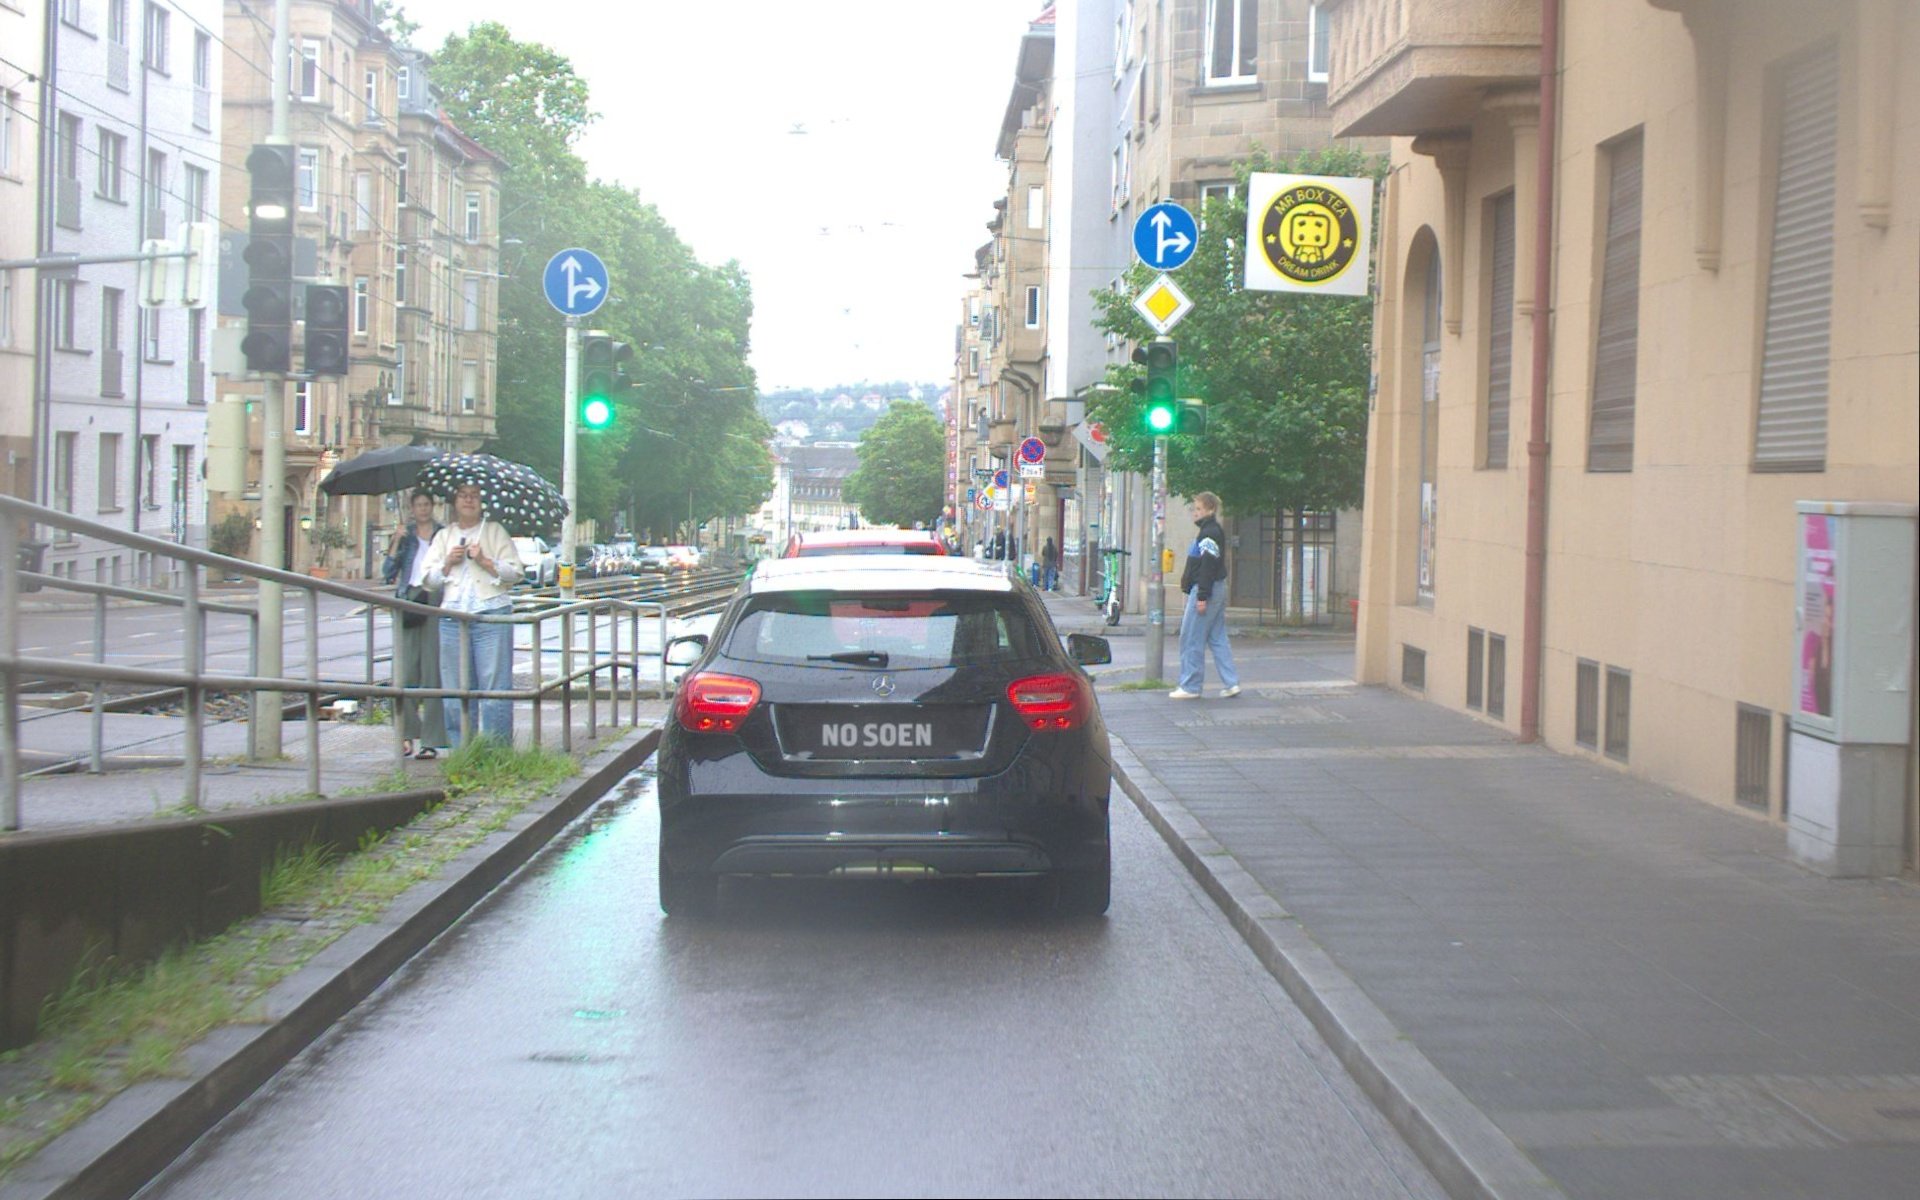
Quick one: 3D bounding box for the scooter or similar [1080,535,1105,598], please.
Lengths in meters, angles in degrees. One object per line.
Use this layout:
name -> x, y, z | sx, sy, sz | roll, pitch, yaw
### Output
scooter or similar -> 2.604, -0.663, 67.473 | 0.395, 1.212, 1.107 | 0, 1, -3

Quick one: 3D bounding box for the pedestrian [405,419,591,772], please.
pedestrian -> -2.704, -0.035, 20.213 | 0.926, 2.007, 0.947 | 1, 1, -1

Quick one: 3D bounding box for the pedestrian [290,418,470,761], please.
pedestrian -> -3.499, -0.071, 20.817 | 0.897, 2.007, 0.947 | 1, 1, -1

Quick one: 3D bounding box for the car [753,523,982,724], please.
car -> -0.683, 0.134, 27.160 | 1.649, 1.447, 4.000 | 1, 1, 0

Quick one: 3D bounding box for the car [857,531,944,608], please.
car -> -1.238, -0.652, 72.334 | 1.765, 1.553, 4.746 | 0, 1, -1

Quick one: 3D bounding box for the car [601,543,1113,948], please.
car -> -0.349, 0.505, 14.697 | 1.866, 1.447, 4.000 | 1, 1, 1

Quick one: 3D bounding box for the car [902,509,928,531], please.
car -> -2.951, -5.204, 224.193 | 1.613, 1.313, 4.000 | 2, 1, -1

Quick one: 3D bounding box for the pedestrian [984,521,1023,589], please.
pedestrian -> 1.142, -1.183, 90.567 | 0.945, 1.763, 1.015 | 0, 1, -3

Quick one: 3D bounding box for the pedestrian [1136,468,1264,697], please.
pedestrian -> 2.001, -0.147, 28.618 | 0.965, 1.834, 0.902 | -3, 1, 4

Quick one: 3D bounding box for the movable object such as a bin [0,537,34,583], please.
movable object such as a bin -> -19.514, -0.834, 71.004 | 0.593, 0.908, 0.560 | 4, 1, -1

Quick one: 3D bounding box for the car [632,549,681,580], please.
car -> -14.481, -1.698, 164.058 | 1.948, 1.392, 4.274 | -1, 1, 0

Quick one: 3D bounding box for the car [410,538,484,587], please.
car -> -16.439, -1.223, 110.316 | 1.722, 1.536, 3.934 | 0, 1, 1

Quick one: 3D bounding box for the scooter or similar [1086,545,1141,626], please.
scooter or similar -> 2.328, -0.224, 52.200 | 0.638, 1.206, 1.553 | 0, 1, -5

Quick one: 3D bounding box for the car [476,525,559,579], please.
car -> -13.874, -1.481, 108.049 | 1.993, 1.622, 5.253 | 0, 0, -1

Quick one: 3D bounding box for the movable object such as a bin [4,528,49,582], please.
movable object such as a bin -> -19.476, -0.933, 71.735 | 0.713, 1.070, 0.687 | 4, 1, -1
